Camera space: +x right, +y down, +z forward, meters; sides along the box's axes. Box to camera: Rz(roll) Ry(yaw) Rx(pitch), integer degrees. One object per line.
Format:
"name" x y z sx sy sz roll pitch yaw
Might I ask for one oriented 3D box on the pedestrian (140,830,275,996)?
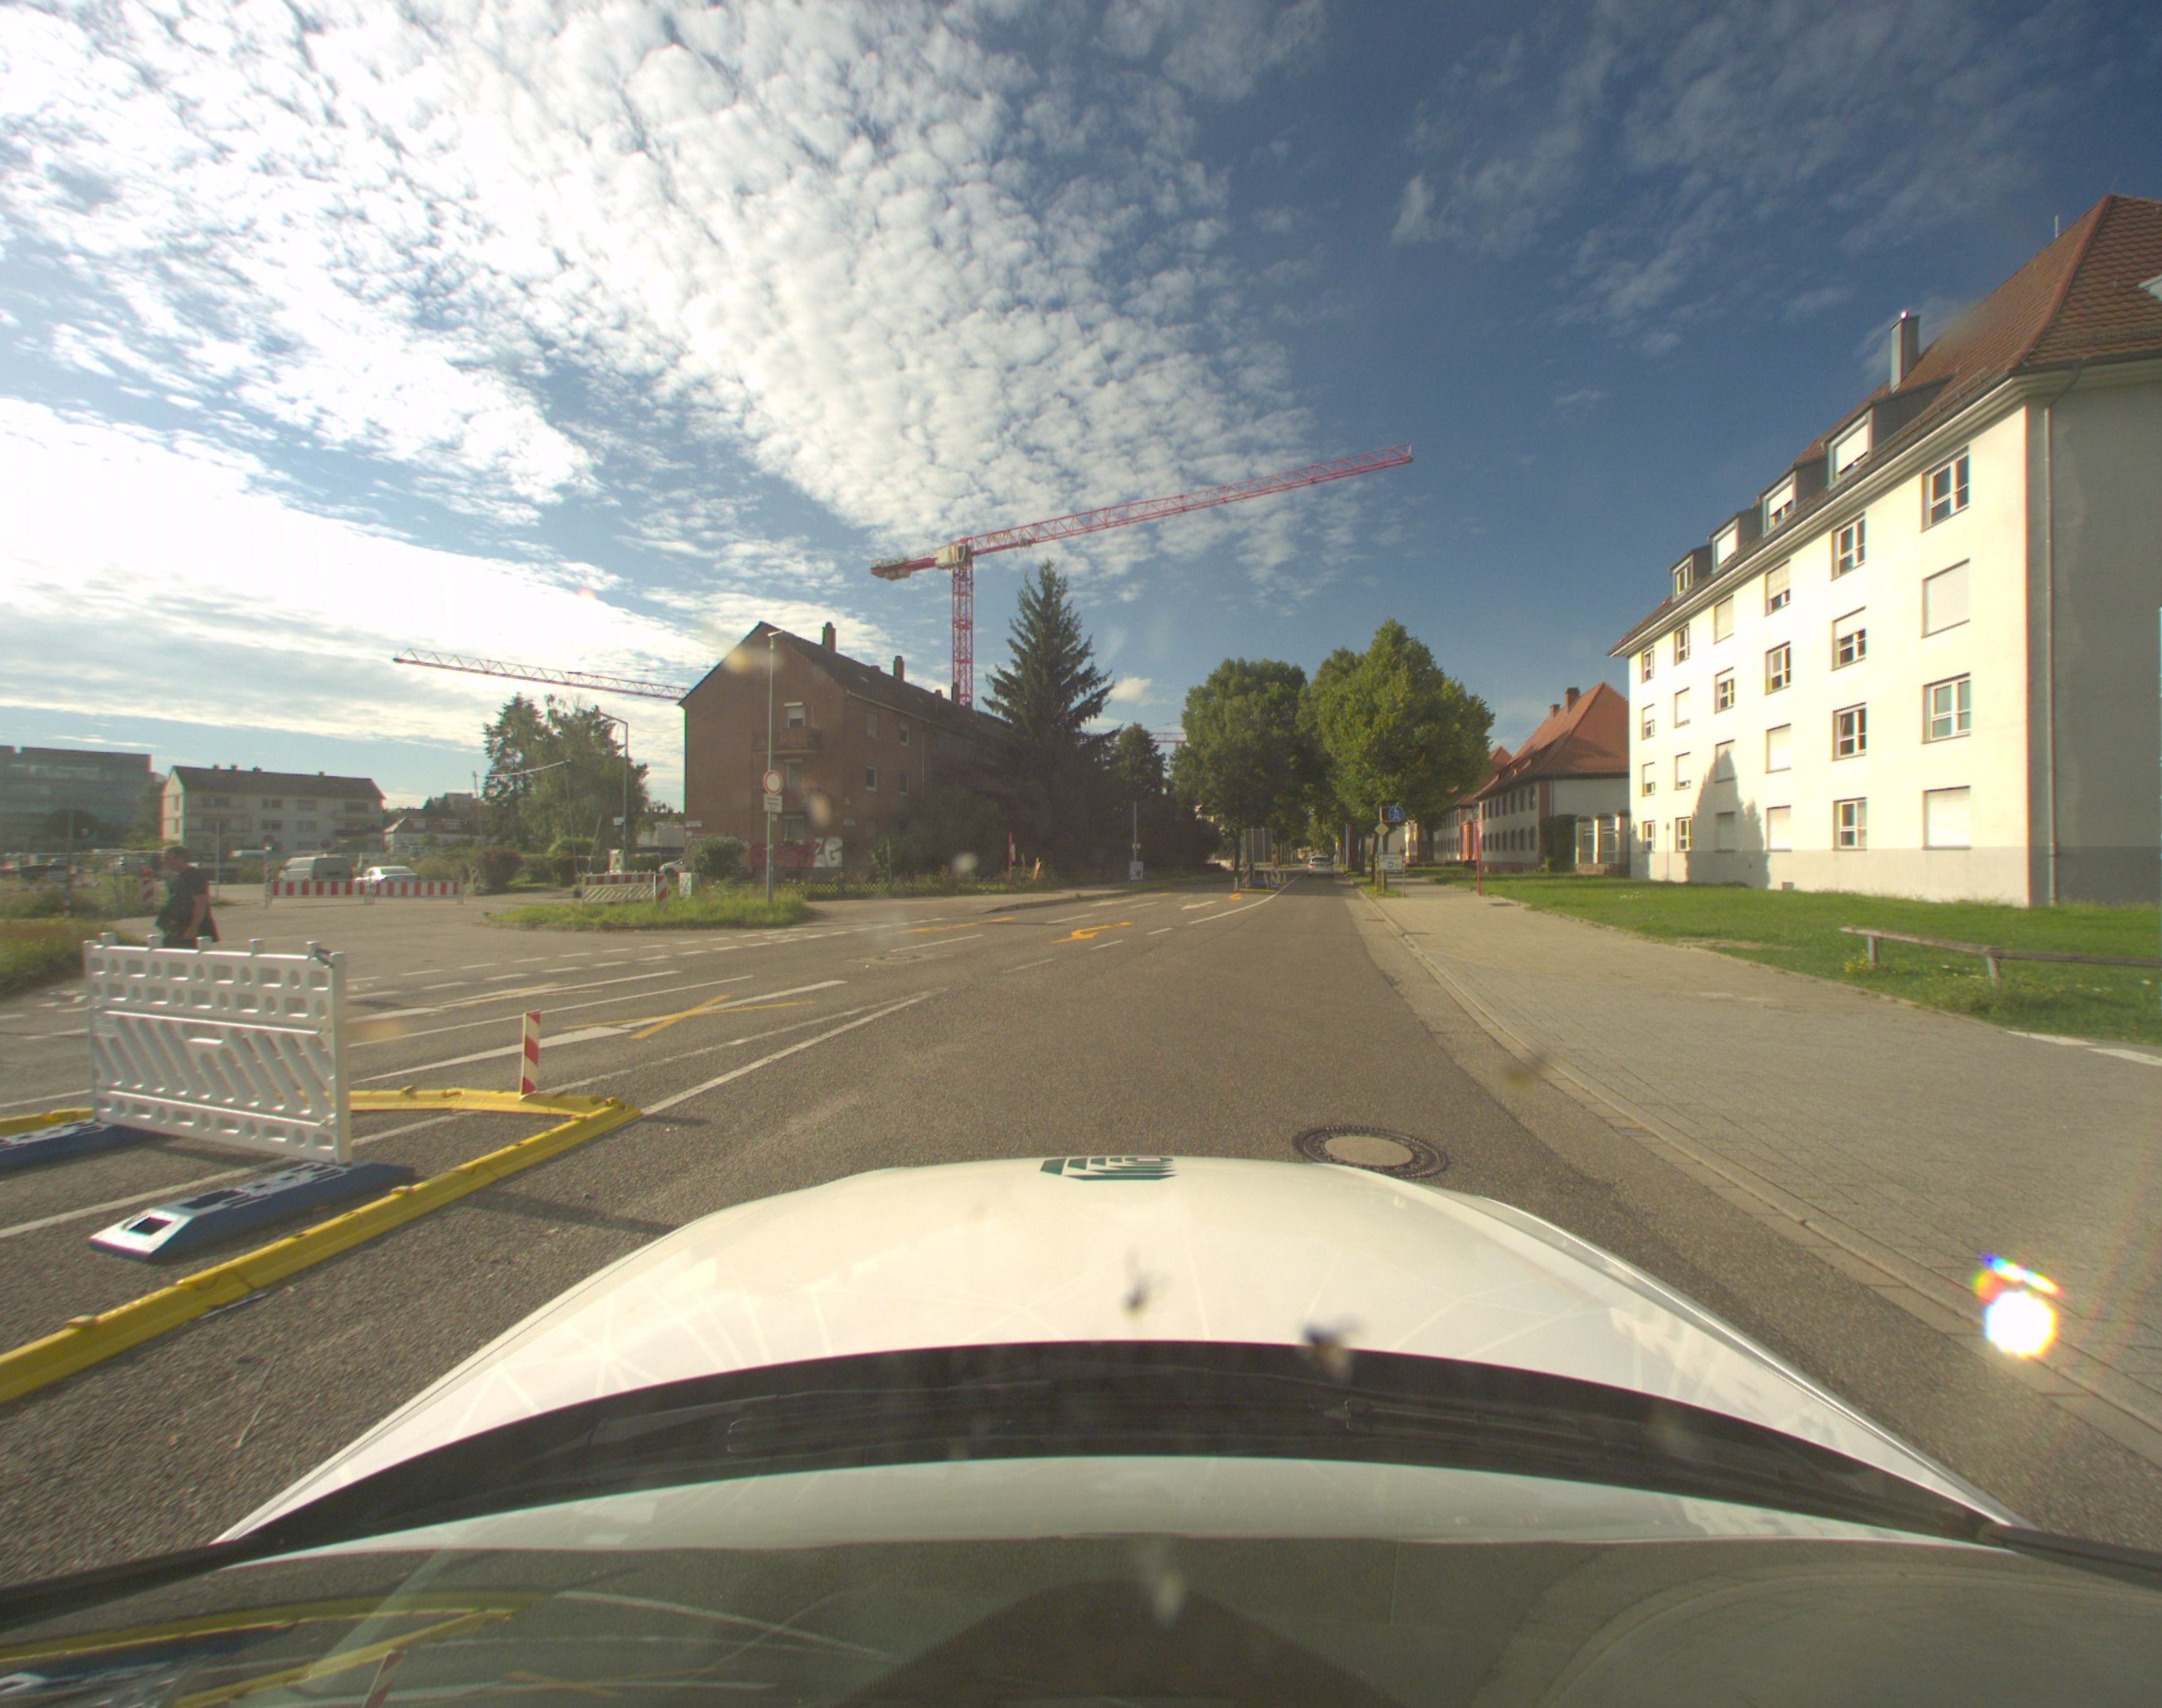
"pedestrian" -10.273 0.670 9.607 0.665 1.871 0.835 0 -1 0

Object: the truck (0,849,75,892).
"truck" -60.308 0.899 46.801 5.566 2.328 2.307 0 -1 31

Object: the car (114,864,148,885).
"car" -87.225 1.825 74.789 3.949 1.860 2.012 0 -1 40

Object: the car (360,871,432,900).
"car" -35.521 1.601 42.228 3.948 1.393 1.732 0 -1 32

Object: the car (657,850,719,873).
"car" -28.291 0.560 58.633 4.010 1.618 1.757 0 0 -28

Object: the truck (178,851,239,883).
"truck" -62.954 0.924 58.752 5.336 2.172 1.993 0 -1 32

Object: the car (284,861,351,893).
"car" -45.026 1.306 47.999 3.948 1.816 1.897 0 -1 32

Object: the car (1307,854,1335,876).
"car" 17.621 0.791 59.922 1.837 1.572 4.473 1 0 15

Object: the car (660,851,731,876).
"car" -25.335 0.612 53.629 3.997 1.618 1.763 0 0 -18
